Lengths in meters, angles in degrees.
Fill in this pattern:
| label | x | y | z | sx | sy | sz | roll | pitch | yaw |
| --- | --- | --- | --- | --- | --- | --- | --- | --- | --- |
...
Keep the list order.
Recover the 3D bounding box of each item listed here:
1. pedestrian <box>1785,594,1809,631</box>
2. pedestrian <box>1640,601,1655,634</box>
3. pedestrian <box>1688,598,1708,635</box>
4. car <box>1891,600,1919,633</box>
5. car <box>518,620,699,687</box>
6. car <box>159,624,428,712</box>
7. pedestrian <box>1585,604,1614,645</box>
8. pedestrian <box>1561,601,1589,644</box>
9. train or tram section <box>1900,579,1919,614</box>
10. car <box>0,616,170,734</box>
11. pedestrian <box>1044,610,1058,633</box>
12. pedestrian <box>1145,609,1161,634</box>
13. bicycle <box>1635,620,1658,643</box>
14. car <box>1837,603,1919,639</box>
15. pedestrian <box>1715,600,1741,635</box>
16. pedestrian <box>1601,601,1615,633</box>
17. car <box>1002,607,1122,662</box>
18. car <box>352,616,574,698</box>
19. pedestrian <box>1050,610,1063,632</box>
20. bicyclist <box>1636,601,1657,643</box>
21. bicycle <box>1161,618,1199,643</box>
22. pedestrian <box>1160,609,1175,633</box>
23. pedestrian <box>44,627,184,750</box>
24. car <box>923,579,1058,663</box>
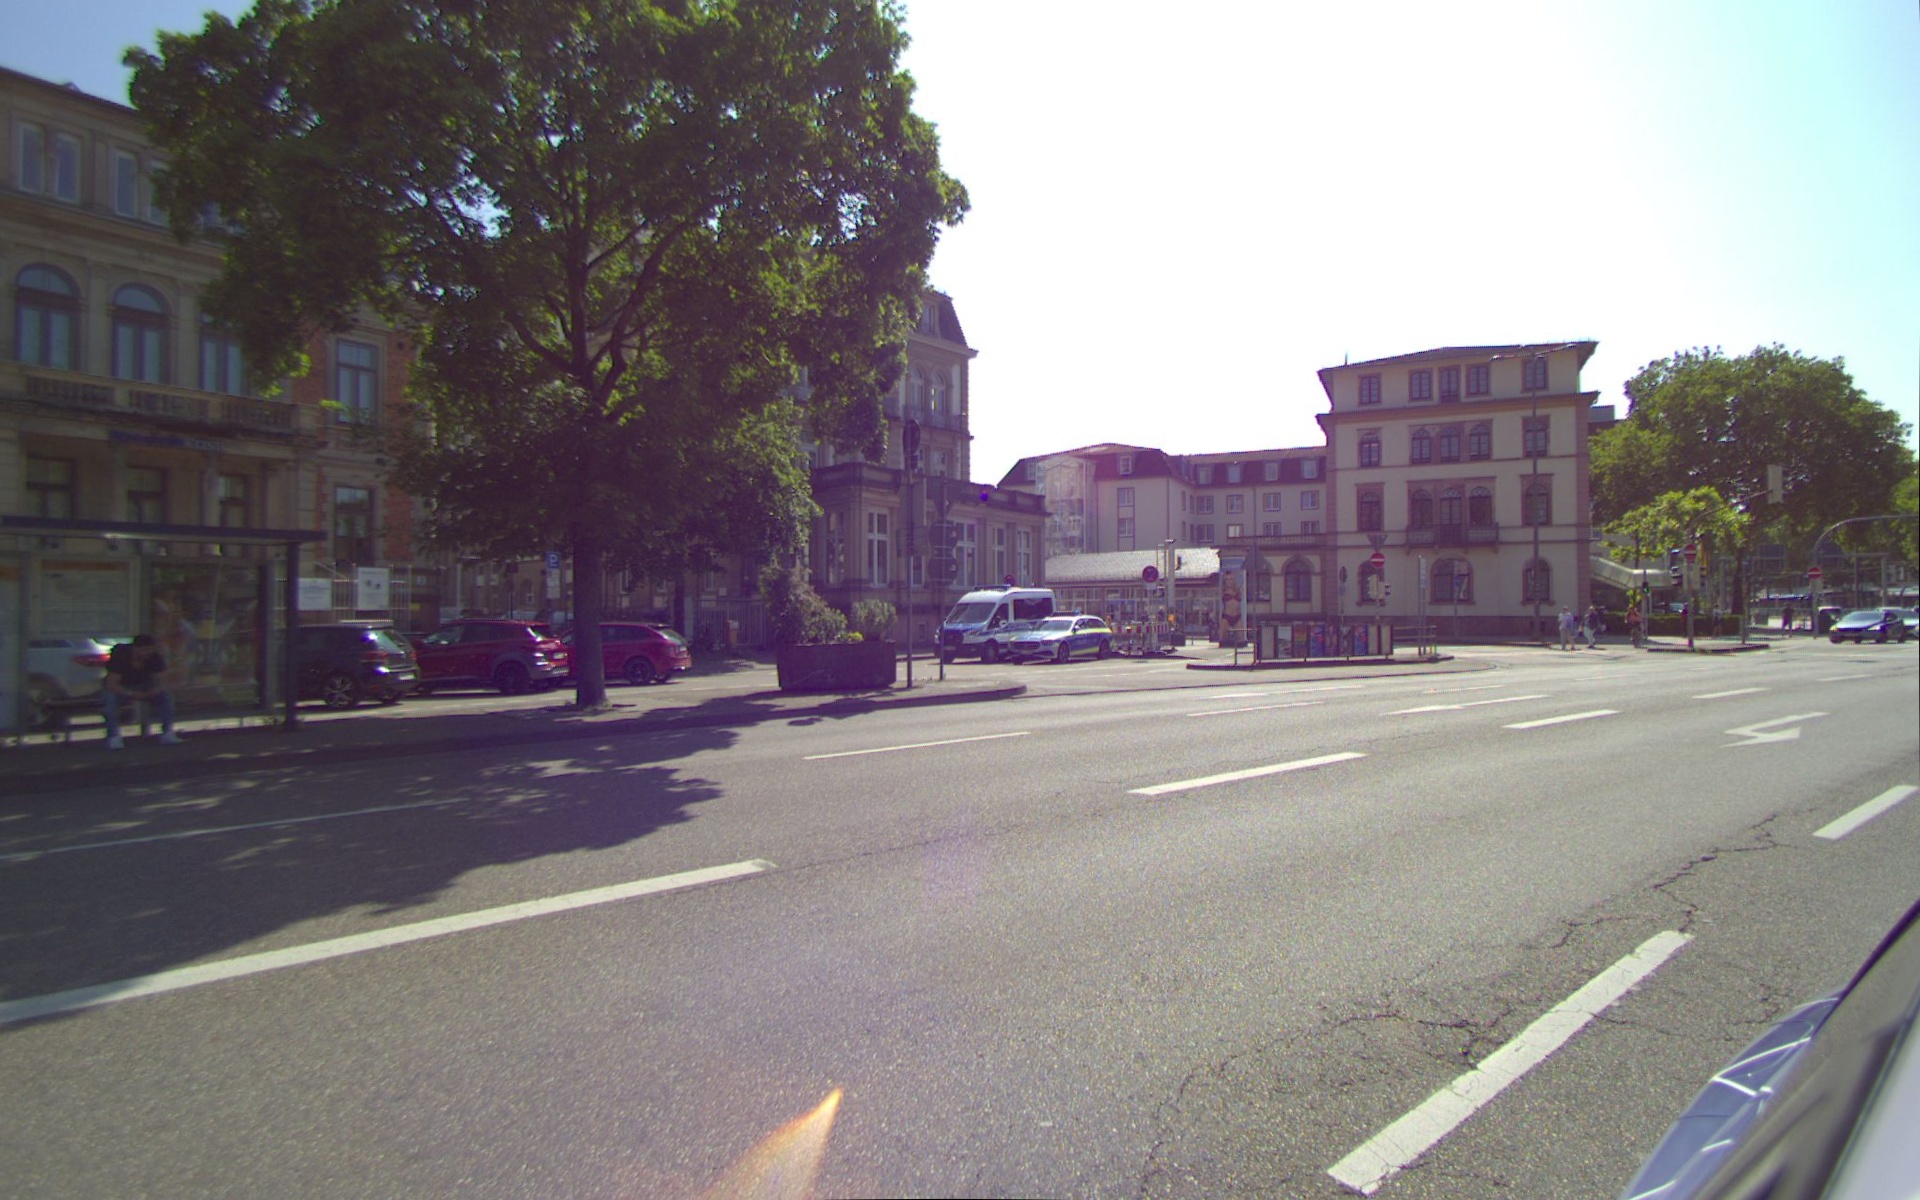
| label | x | y | z | sx | sy | sz | roll | pitch | yaw |
| --- | --- | --- | --- | --- | --- | --- | --- | --- | --- |
| pedestrian | 43.244 | 0.655 | 52.295 | 0.715 | 1.869 | 0.591 | -1 | -1 | 3 |
| pedestrian | 34.912 | 0.879 | 51.369 | 0.530 | 1.670 | 0.574 | -1 | -1 | 29 |
| pedestrian | 37.322 | 0.845 | 51.182 | 0.720 | 1.828 | 0.645 | -1 | -1 | 32 |
| car | 45.678 | 0.766 | 48.172 | 3.908 | 1.550 | 1.788 | 0 | 0 | -44 |
| car | -8.074 | 1.202 | 23.488 | 3.629 | 1.436 | 1.749 | -1 | -1 | -1 |
| car | -11.799 | 1.184 | 18.076 | 3.747 | 1.435 | 1.606 | -1 | -1 | -1 |
| pedestrian | 25.331 | 0.950 | 40.070 | 0.816 | 1.592 | 0.771 | 1 | -2 | -44 |
| pedestrian | 24.433 | 0.890 | 40.189 | 0.751 | 1.681 | 0.816 | -2 | -2 | 44 |
| train or tram section | 90.313 | -0.361 | 93.211 | 2.705 | 3.309 | 8.663 | -1 | -1 | 24 |
| car | -14.622 | 1.087 | 15.101 | 4.229 | 1.650 | 1.715 | -1 | -1 | -5 |
| pedestrian | 6.631 | 1.553 | 73.905 | 0.705 | 1.624 | 0.725 | 0 | -1 | -32 |
| pedestrian | 12.776 | 1.414 | 66.921 | 0.707 | 1.624 | 0.723 | 1 | -2 | -42 |
| bicycle | 26.845 | 1.223 | 39.547 | 0.590 | 0.866 | 1.720 | -1 | -1 | 39 |
| car | 39.857 | 0.864 | 43.802 | 3.895 | 1.470 | 1.794 | 0 | 0 | -32 |
| pedestrian | 38.121 | 0.872 | 50.260 | 0.835 | 1.717 | 0.739 | -1 | -1 | 24 |
| pedestrian | 34.253 | 0.888 | 53.467 | 0.530 | 1.670 | 0.667 | -1 | -1 | 29 |
| car | 3.413 | 1.074 | 32.985 | 1.810 | 1.647 | 4.819 | -1 | -1 | 34 |
| car | -10.311 | 1.149 | 21.206 | 3.803 | 1.595 | 1.750 | -1 | -1 | -1 |
| pedestrian | 7.193 | 1.542 | 75.372 | 0.705 | 1.624 | 0.724 | 0 | -1 | -33 |
| bicyclist | 26.819 | 0.844 | 39.529 | 0.590 | 1.627 | 0.674 | -1 | -2 | 40 |
| bicycle | 10.502 | 1.448 | 48.346 | 1.814 | 1.113 | 0.497 | 0 | 0 | 44 |
| pedestrian | 13.789 | 1.398 | 67.290 | 0.707 | 1.624 | 0.723 | 1 | -2 | -41 |
| pedestrian | -8.921 | 0.902 | 10.686 | 1.010 | 1.213 | 0.785 | -1 | -1 | 25 |
| car | 1.142 | 0.676 | 34.403 | 1.987 | 2.637 | 5.250 | -2 | -1 | 35 |
